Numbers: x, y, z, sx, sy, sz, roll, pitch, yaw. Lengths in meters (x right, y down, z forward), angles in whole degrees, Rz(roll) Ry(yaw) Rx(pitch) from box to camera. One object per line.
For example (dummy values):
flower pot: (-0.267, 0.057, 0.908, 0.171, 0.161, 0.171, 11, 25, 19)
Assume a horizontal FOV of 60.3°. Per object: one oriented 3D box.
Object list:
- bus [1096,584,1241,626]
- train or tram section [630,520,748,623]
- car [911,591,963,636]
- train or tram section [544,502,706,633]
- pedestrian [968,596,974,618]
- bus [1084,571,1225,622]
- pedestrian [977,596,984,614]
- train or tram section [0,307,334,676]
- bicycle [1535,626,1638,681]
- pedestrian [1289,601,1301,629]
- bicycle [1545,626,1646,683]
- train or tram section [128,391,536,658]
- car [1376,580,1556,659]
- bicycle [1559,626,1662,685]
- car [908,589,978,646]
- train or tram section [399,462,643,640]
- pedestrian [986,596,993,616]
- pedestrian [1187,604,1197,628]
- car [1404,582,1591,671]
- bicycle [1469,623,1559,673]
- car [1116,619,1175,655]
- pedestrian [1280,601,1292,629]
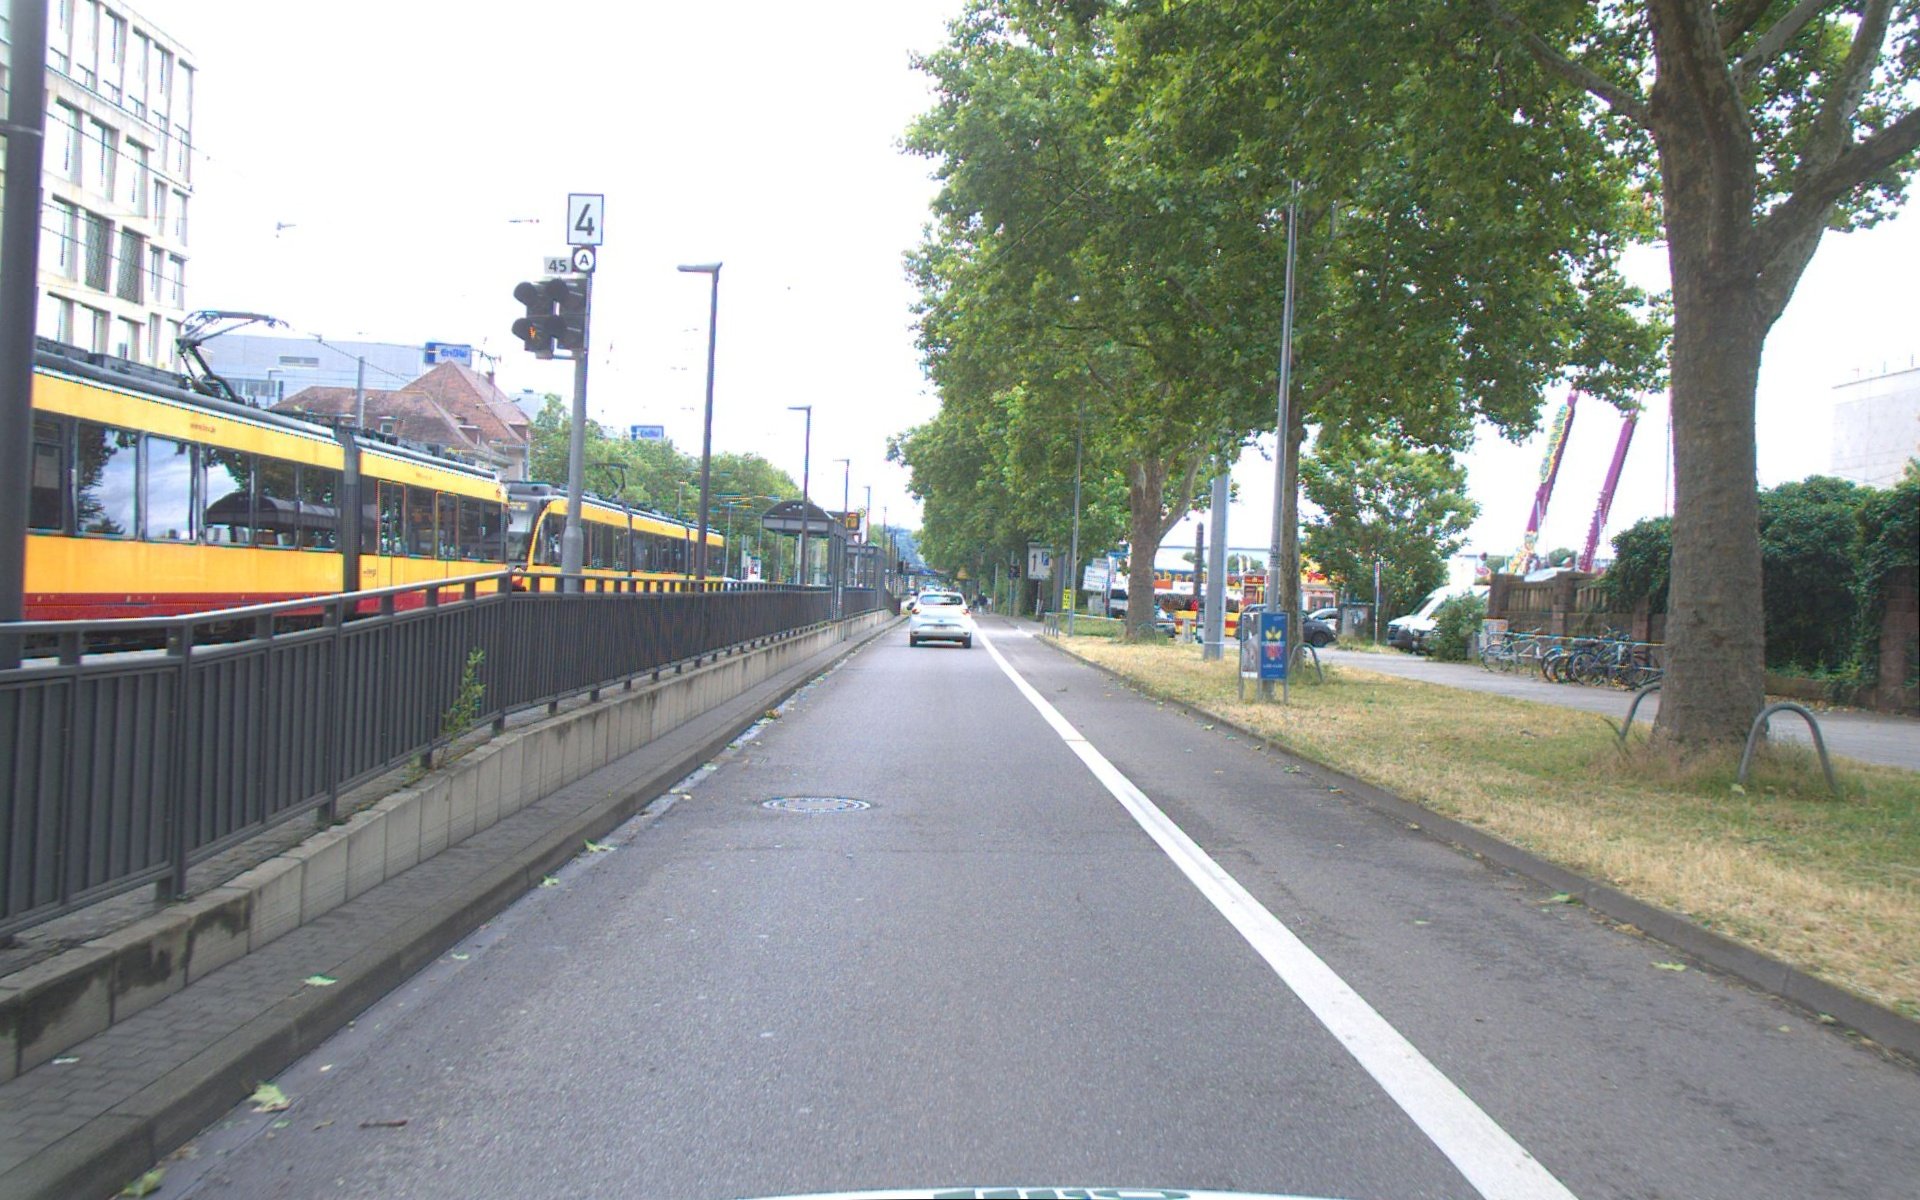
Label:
bus: (13.538, 0.344, 107.568, 9.093, 2.266, 1.999, 3, -1, -4)
train or tram section: (-12.443, -1.162, 77.611, 3.116, 4.252, 14.731, 2, 0, -1)
car: (-0.847, 0.510, 62.326, 1.803, 1.579, 4.000, 2, 0, 0)
train or tram section: (-12.369, -1.041, 62.896, 3.116, 4.252, 14.731, 2, 0, -1)
pedestrian: (1.061, 0.678, 156.662, 0.387, 2.049, 0.403, 2, -1, 15)
bus: (12.998, -0.221, 110.623, 9.093, 3.011, 1.999, 3, -1, -4)
pedestrian: (1.685, 0.433, 135.312, 0.387, 1.470, 0.563, 2, -1, 12)
train or tram section: (-11.851, -1.183, 21.473, 3.099, 3.929, 11.309, 2, 0, -1)
bicycle: (13.008, 1.107, 34.377, 1.935, 1.114, 0.549, 1, -1, -3)
pedestrian: (21.035, 0.961, 103.765, 0.514, 1.716, 0.492, 3, -1, -17)
bicycle: (12.959, 1.100, 33.738, 1.862, 1.116, 0.549, 1, -1, -3)
train or tram section: (-12.034, -1.186, 33.907, 3.116, 4.252, 13.618, 2, 0, -1)
car: (18.599, 0.726, 60.959, 5.903, 2.600, 2.099, 3, -1, -3)
bicycle: (13.031, 1.107, 33.162, 1.852, 1.124, 0.549, 1, -1, -3)
car: (-0.523, 0.491, 46.743, 1.847, 1.478, 3.998, 2, 0, -2)
train or tram section: (-12.227, -1.151, 48.112, 3.116, 4.252, 14.731, 2, 0, -1)
pedestrian: (2.428, 0.516, 135.262, 0.387, 1.613, 0.538, 2, -1, 11)
pedestrian: (14.232, 0.976, 101.357, 0.483, 1.488, 0.523, 2, -1, -4)
car: (18.649, 0.907, 57.548, 5.669, 2.579, 2.039, 5, -1, -2)
bicycle: (12.830, 1.113, 38.315, 1.883, 1.110, 0.549, 1, -1, -3)
car: (8.274, 1.642, 73.949, 1.827, 1.455, 3.996, 3, 0, -5)
pedestrian: (20.340, 0.930, 103.276, 0.514, 1.716, 0.492, 3, -1, -17)
